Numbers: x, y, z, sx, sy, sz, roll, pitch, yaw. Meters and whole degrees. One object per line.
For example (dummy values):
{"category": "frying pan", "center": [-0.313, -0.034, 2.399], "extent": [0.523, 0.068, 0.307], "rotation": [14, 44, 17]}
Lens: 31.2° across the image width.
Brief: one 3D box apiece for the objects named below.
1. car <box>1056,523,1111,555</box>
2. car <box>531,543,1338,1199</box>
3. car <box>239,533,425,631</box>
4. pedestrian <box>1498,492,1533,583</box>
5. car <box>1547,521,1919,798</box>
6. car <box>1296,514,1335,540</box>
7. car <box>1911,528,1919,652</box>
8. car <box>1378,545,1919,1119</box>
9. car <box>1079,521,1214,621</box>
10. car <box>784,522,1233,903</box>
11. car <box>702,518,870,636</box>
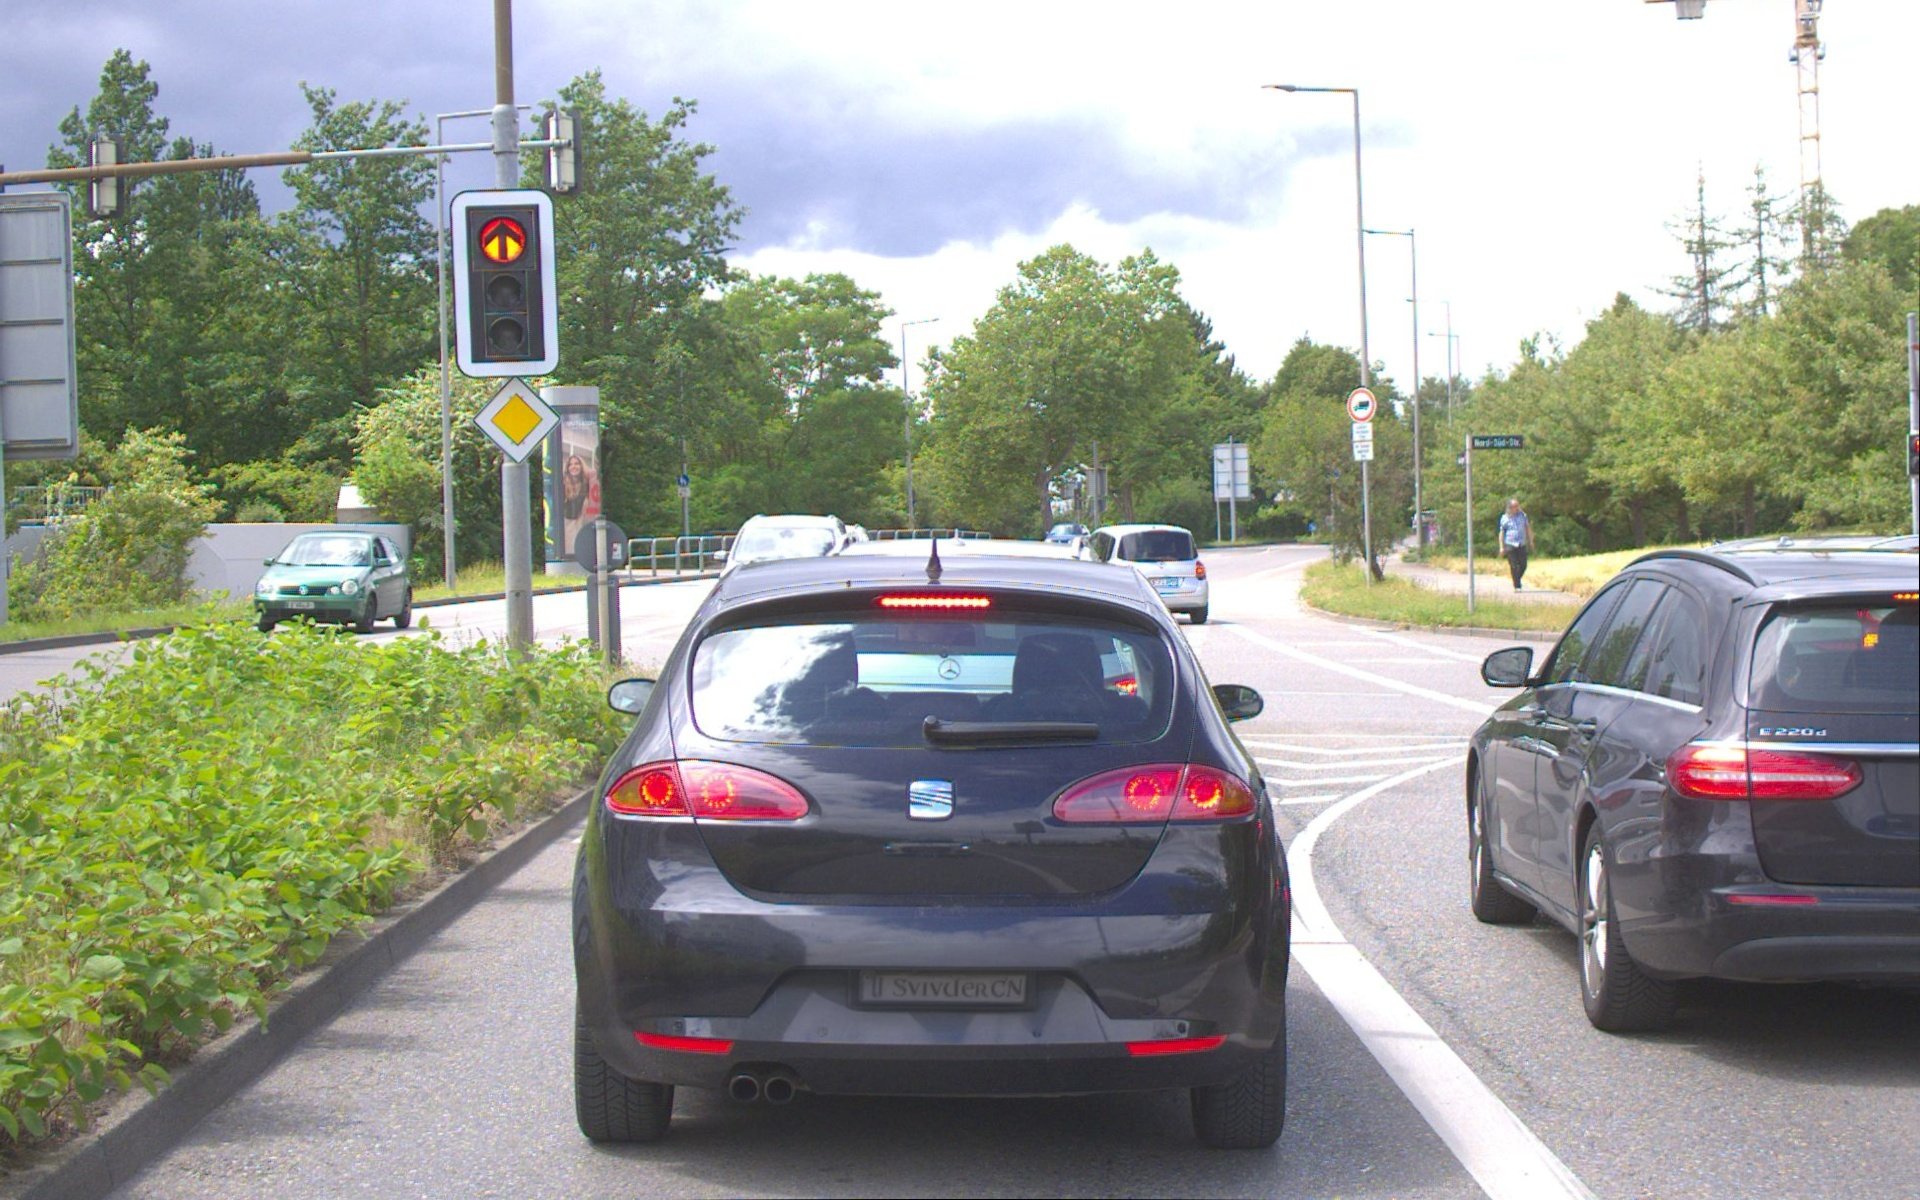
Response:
{"category": "car", "center": [5.350, -2.647, 148.096], "extent": [1.994, 1.347, 3.999], "rotation": [0, 1, 8]}
{"category": "car", "center": [-0.074, 0.583, 9.372], "extent": [1.773, 1.447, 3.582], "rotation": [0, 1, -1]}
{"category": "car", "center": [-9.099, -0.292, 50.094], "extent": [1.993, 1.347, 4.000], "rotation": [0, 1, 0]}
{"category": "pedestrian", "center": [10.504, -1.184, 64.970], "extent": [0.559, 1.720, 0.588], "rotation": [0, 1, 1]}
{"category": "car", "center": [5.540, 0.289, 21.679], "extent": [1.866, 1.513, 4.438], "rotation": [-1, 2, 35]}
{"category": "car", "center": [19.082, -3.929, 184.425], "extent": [1.994, 1.347, 3.999], "rotation": [0, 1, 8]}
{"category": "car", "center": [13.854, -0.148, 41.430], "extent": [4.305, 1.520, 2.000], "rotation": [-1, 1, 6]}
{"category": "car", "center": [2.715, 0.575, 11.719], "extent": [1.872, 1.436, 5.200], "rotation": [-2, 1, 0]}
{"category": "car", "center": [2.969, -0.502, 55.488], "extent": [1.993, 1.525, 4.000], "rotation": [-1, 1, 1]}
{"category": "car", "center": [0.115, 0.410, 15.635], "extent": [1.773, 1.486, 3.583], "rotation": [-2, 1, -3]}
{"category": "car", "center": [-2.419, -0.361, 48.740], "extent": [1.994, 1.590, 4.000], "rotation": [0, 1, 3]}
